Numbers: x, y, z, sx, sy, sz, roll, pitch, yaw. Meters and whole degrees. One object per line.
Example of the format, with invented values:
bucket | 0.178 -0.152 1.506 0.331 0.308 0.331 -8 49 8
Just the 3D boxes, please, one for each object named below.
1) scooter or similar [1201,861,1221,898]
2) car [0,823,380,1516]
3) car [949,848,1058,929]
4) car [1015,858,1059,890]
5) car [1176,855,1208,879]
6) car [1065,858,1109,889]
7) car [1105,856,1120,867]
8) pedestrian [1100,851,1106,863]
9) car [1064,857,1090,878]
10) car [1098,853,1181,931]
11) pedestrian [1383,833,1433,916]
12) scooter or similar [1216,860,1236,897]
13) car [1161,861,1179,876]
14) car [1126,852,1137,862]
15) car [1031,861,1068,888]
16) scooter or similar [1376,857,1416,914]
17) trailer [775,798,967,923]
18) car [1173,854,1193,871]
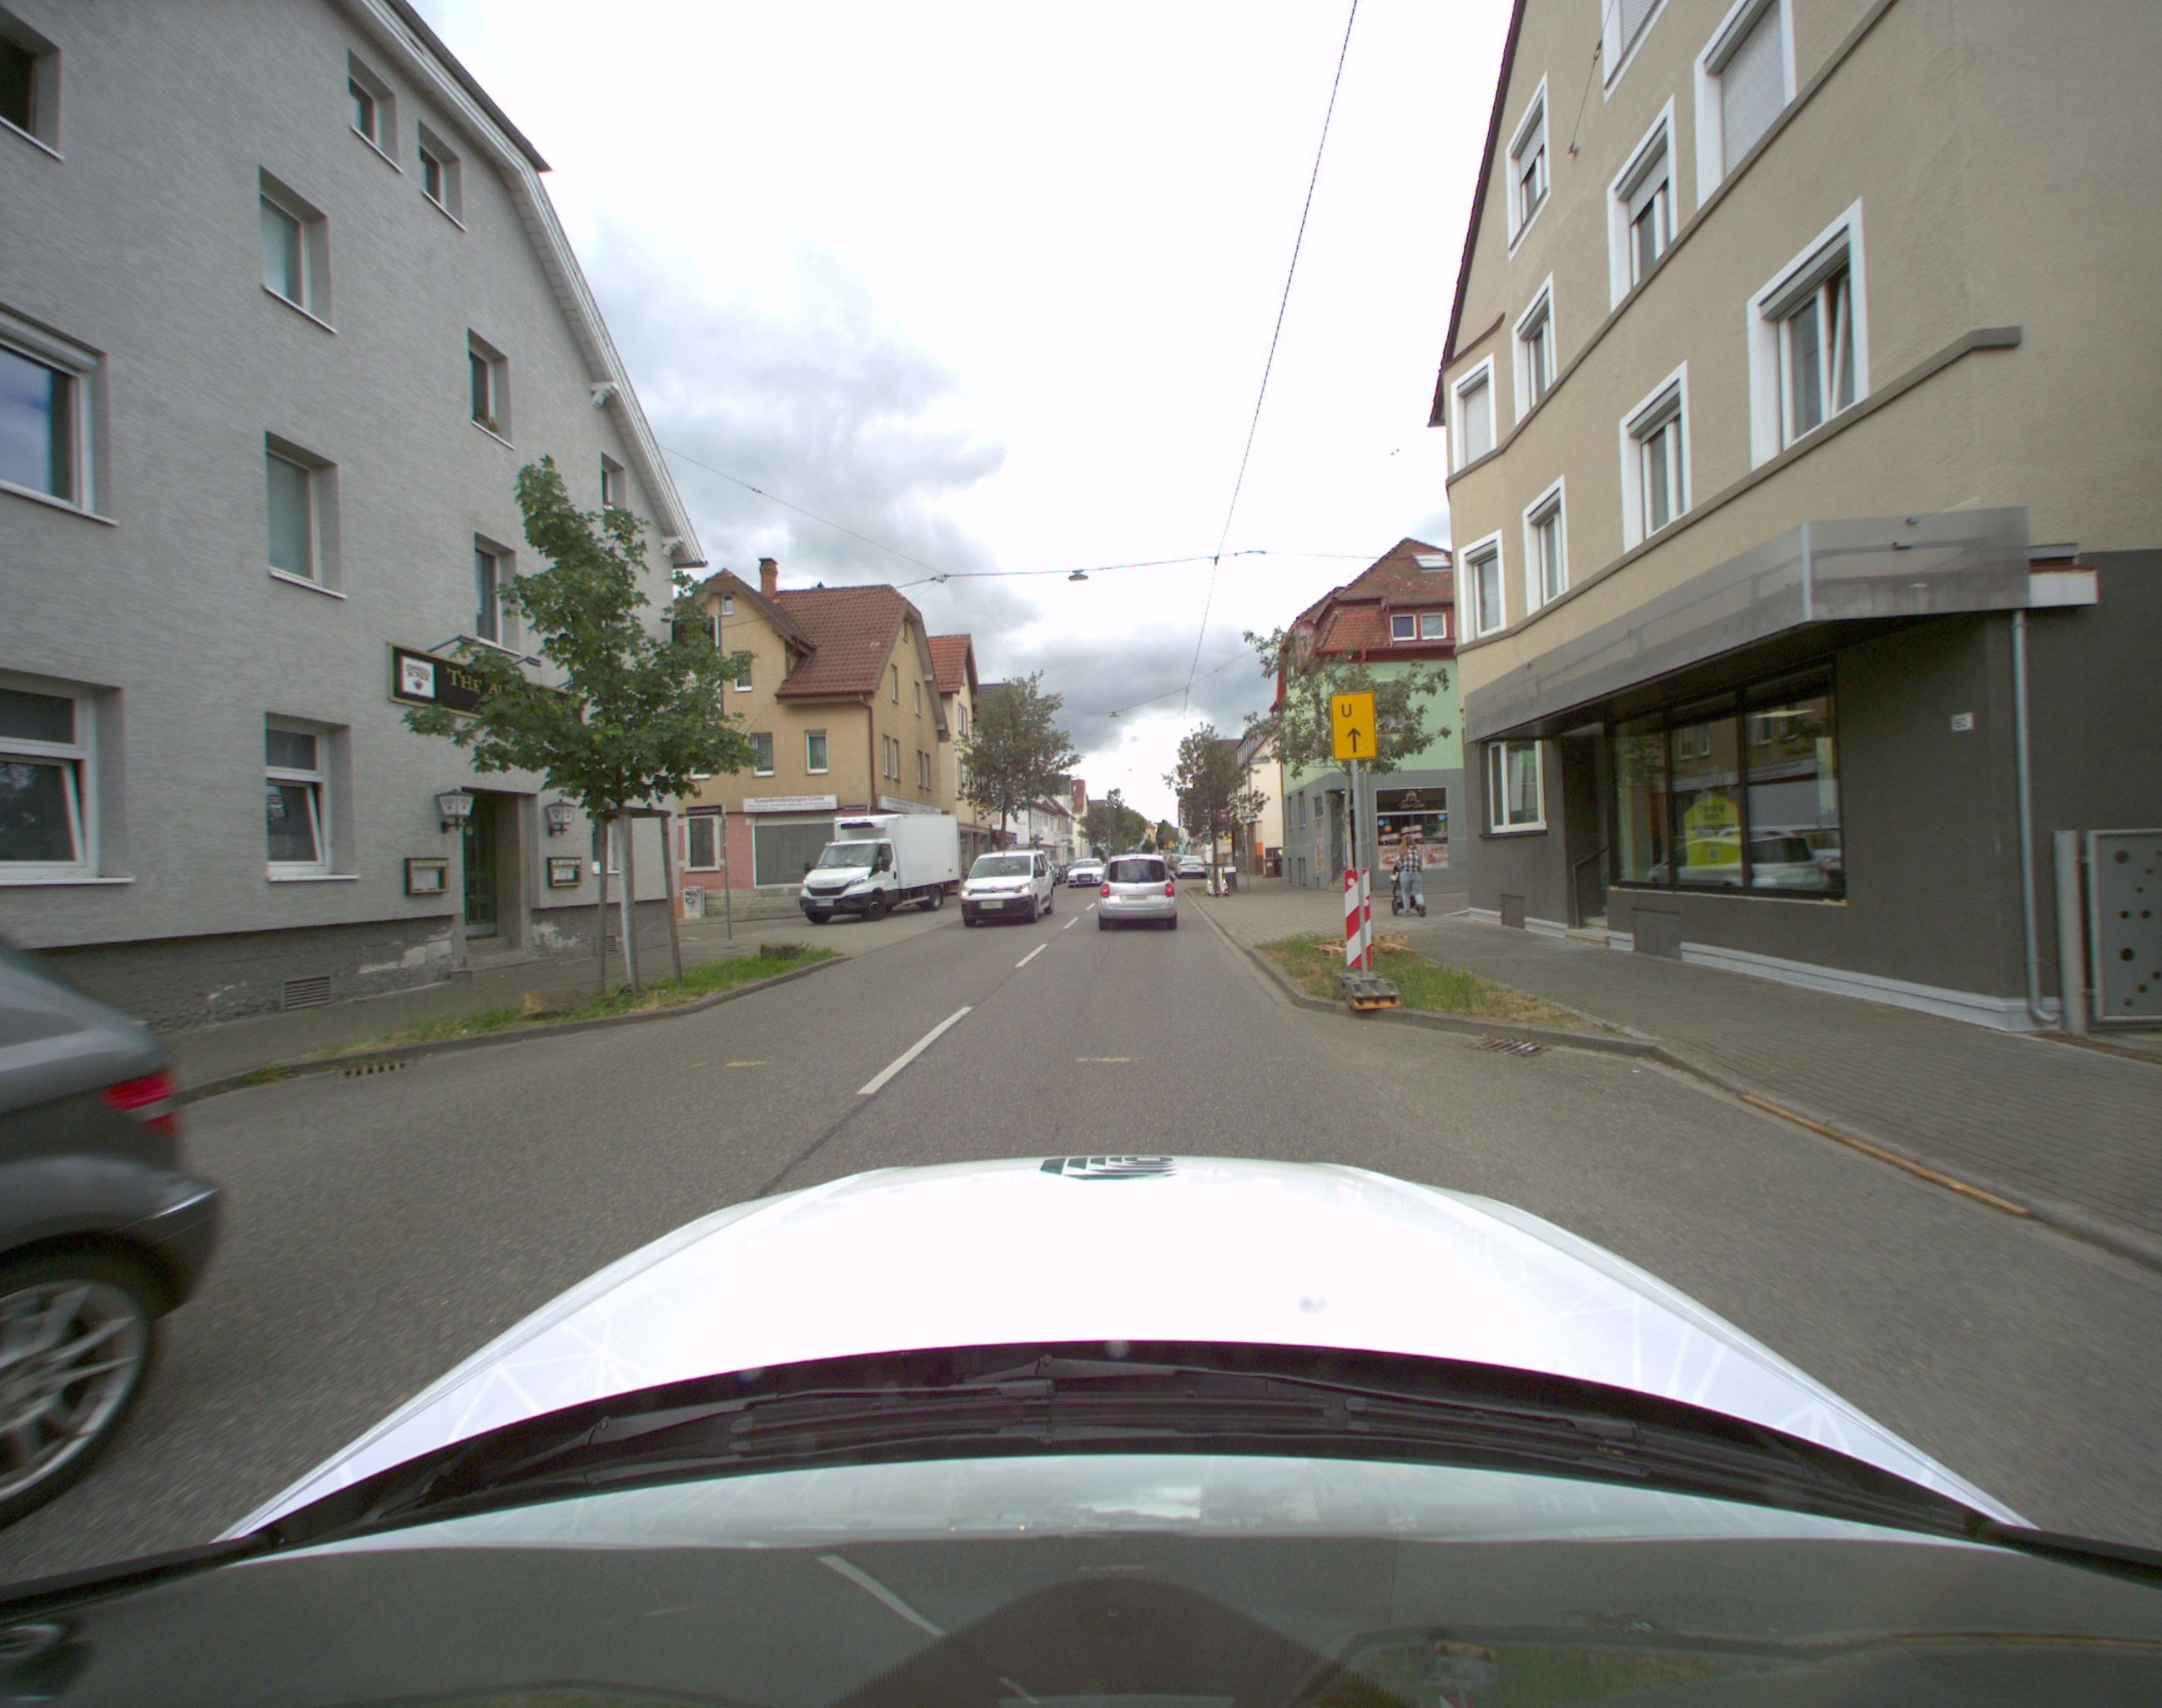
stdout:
scooter or similar | 4.589 0.890 28.806 0.499 1.235 1.945 -1 0 5
car | -3.431 0.761 0.748 1.772 1.552 4.079 -4 -1 4
car | -1.866 0.816 21.096 1.984 1.796 4.283 -3 -1 5
car | -2.351 1.058 44.608 1.701 1.566 4.120 -3 -1 6
car | 7.012 0.786 51.762 1.822 1.446 4.338 -1 0 6
car | 0.369 0.977 42.642 1.834 1.433 4.550 -3 -1 5
car | 4.775 1.109 122.508 1.939 1.467 4.523 -4 -1 6
pedestrian | 3.535 0.500 130.201 0.759 1.791 0.891 -1 -1 5
car | -0.302 1.066 65.892 1.674 1.499 3.781 -3 -1 6
car | 1.389 0.787 18.512 1.674 1.566 4.000 -1 0 6
pedestrian | 7.014 0.437 17.514 0.747 1.720 0.901 -1 -1 5
scooter or similar | 5.119 0.850 28.774 0.499 1.235 1.945 -1 0 5
car | 8.846 1.412 81.344 1.746 1.446 4.462 -1 0 6
car | 9.678 0.611 155.682 1.891 1.737 4.373 -3 -1 6
car | -1.903 1.217 49.922 1.674 1.493 3.597 -3 -1 6
scooter or similar | 7.117 0.700 18.438 0.587 1.233 0.892 -1 -1 4
trailer | -6.011 0.182 24.727 2.485 3.219 7.162 -1 0 14
car | 9.577 0.766 76.614 1.822 1.497 4.000 -1 0 6
